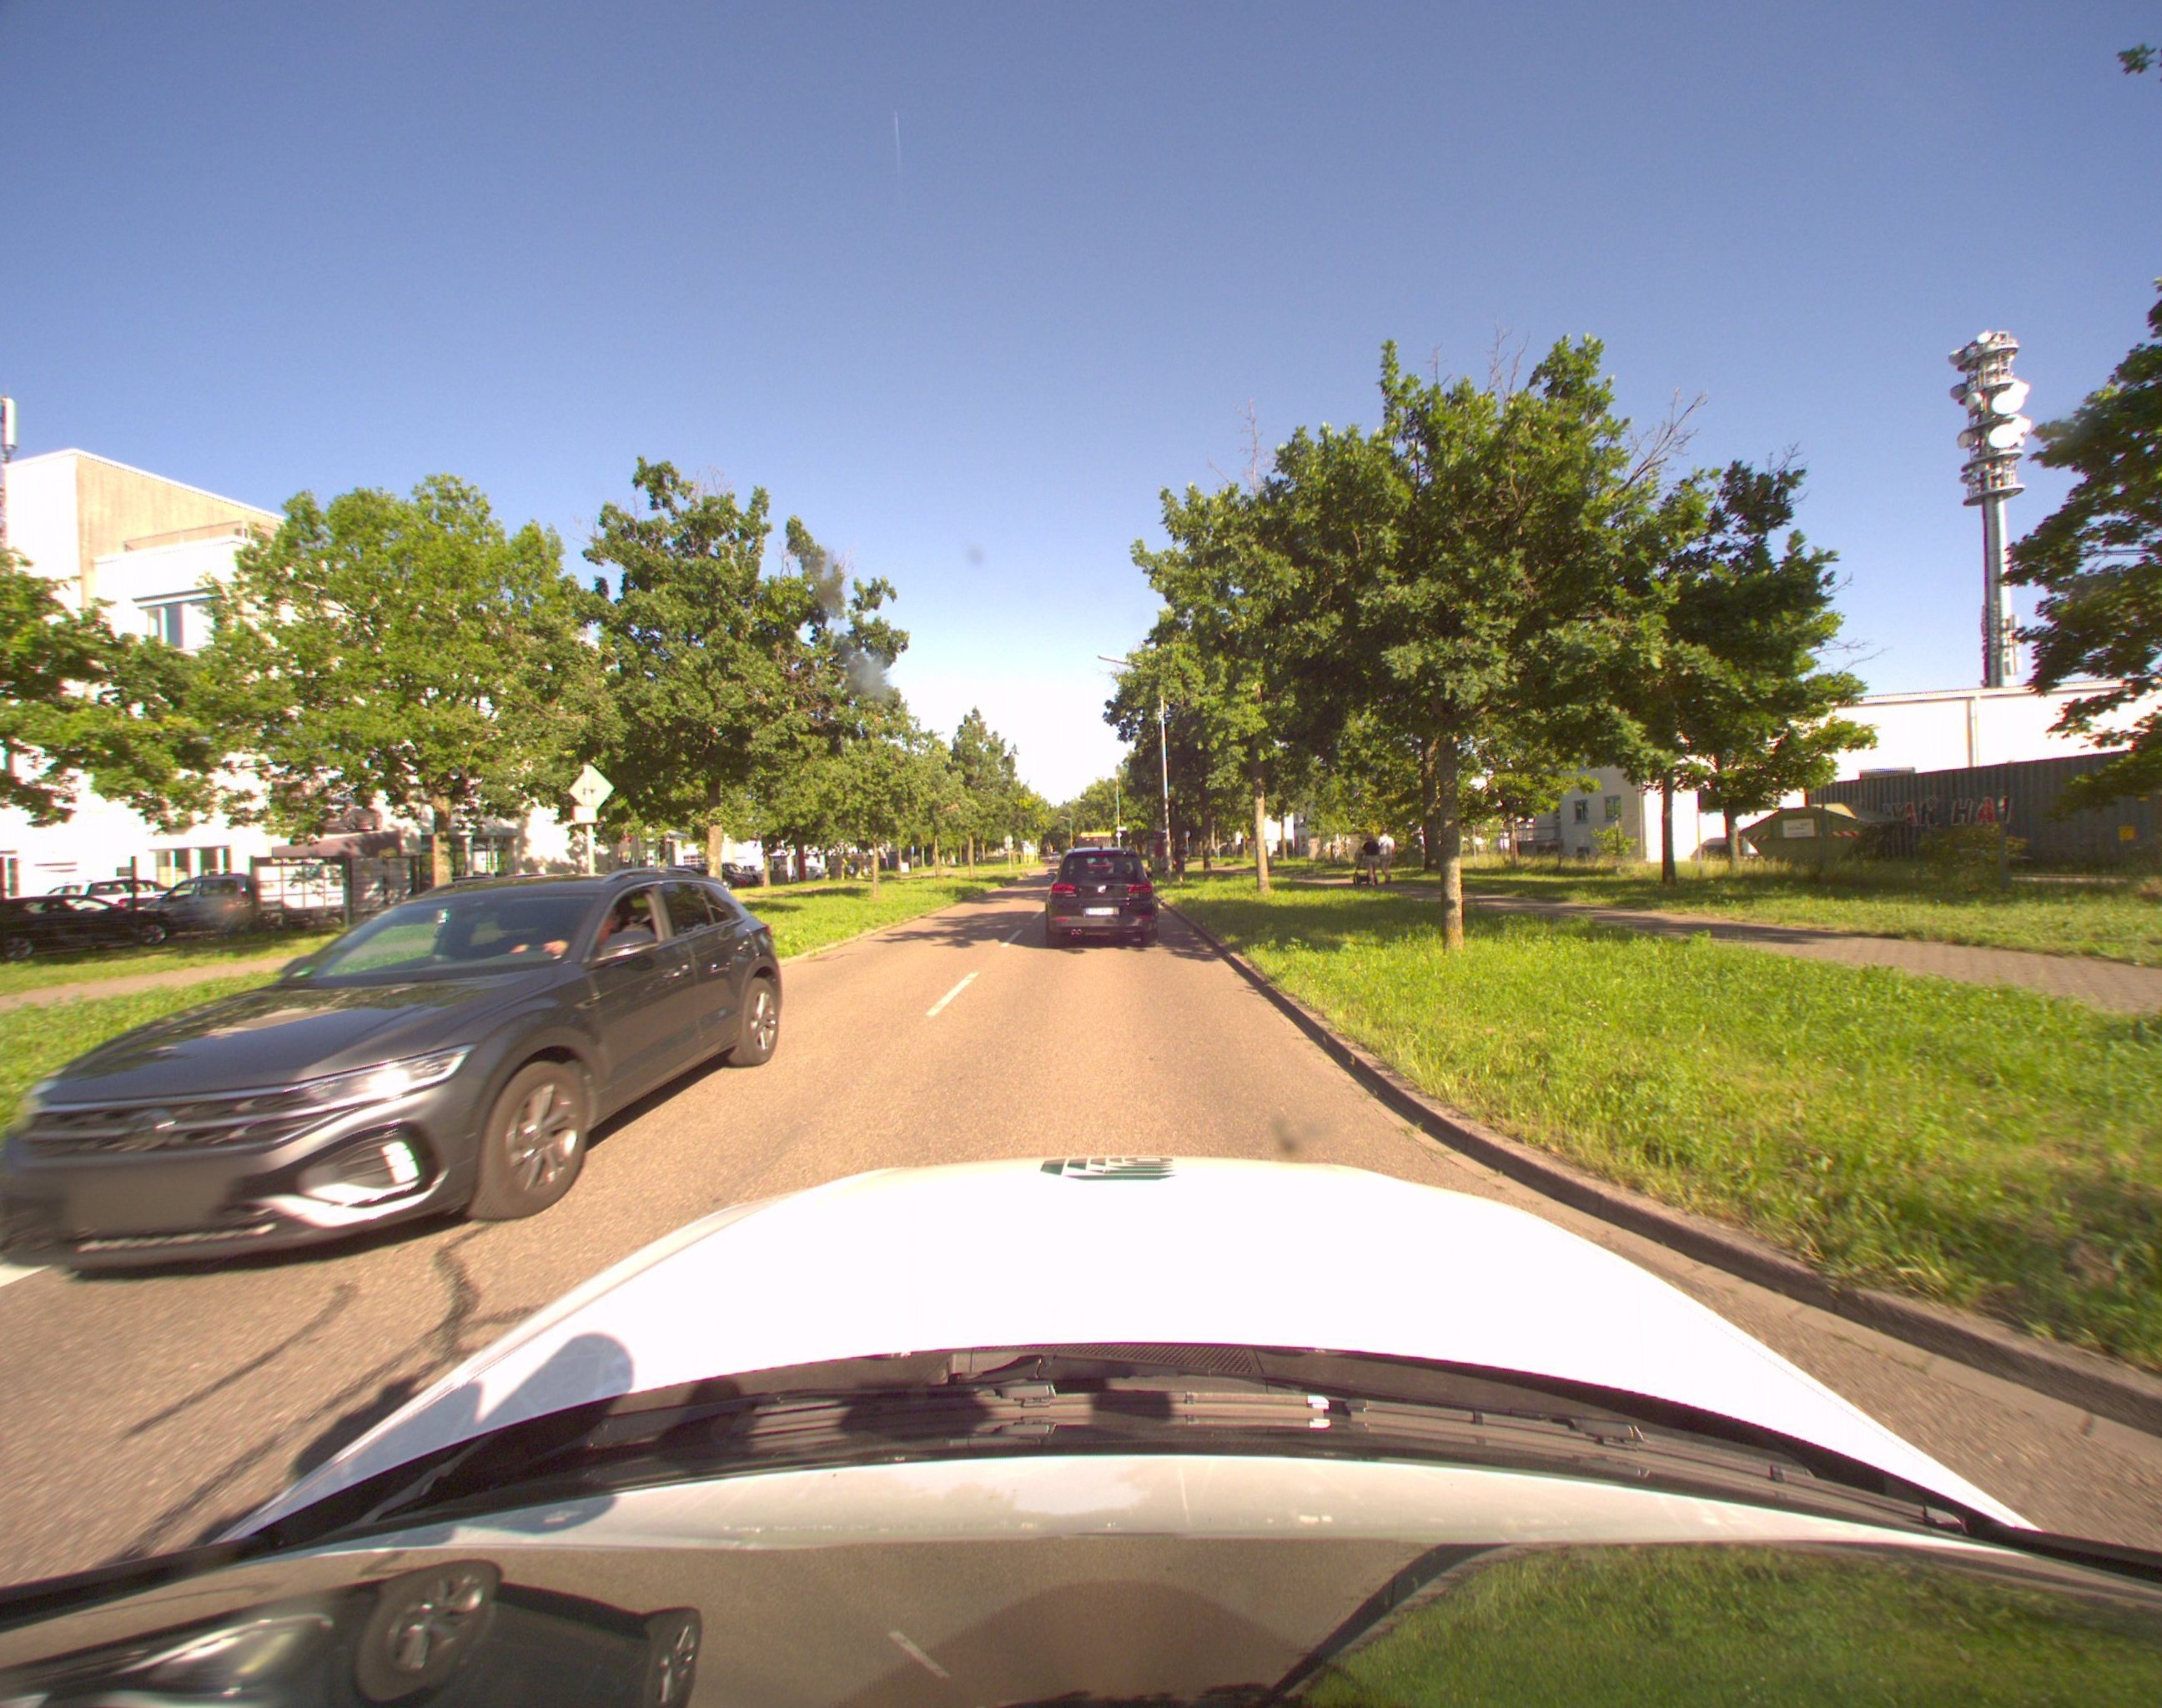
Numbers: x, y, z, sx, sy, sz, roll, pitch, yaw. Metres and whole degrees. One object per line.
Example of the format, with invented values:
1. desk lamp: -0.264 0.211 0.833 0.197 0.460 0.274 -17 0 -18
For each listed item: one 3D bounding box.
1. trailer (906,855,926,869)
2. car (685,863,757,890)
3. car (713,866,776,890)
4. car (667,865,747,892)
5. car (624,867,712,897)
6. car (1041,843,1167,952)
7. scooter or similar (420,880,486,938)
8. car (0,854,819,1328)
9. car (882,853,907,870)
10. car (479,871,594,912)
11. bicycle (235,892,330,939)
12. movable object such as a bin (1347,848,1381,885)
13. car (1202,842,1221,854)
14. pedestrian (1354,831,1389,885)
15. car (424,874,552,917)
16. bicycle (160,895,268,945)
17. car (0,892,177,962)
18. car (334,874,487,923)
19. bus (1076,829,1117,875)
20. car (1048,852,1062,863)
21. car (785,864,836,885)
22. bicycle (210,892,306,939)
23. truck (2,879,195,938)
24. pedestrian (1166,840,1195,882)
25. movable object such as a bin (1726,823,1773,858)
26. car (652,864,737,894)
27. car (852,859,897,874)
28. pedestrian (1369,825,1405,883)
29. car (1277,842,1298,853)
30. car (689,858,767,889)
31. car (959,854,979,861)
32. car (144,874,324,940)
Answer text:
1. trailer: -24.362 1.123 120.232 2.096 1.914 3.739 -2 0 -1
2. car: -24.312 1.475 54.983 4.184 1.562 1.980 -3 0 -31
3. car: -29.953 2.152 72.471 4.971 1.906 1.950 -2 0 17
4. car: -23.705 1.537 51.667 4.190 1.491 1.977 -3 0 -38
5. car: -22.890 1.509 45.231 3.975 1.401 1.976 -3 0 -41
6. car: 0.400 0.645 14.758 1.929 1.656 4.428 -1 1 1
7. scooter or similar: -15.182 1.303 19.727 0.393 1.279 1.442 -2 0 2
8. car: -3.314 0.847 5.128 1.799 1.536 4.494 -4 1 0
9. car: -24.436 0.956 106.850 2.030 1.988 5.802 -2 0 -2
10. car: -24.030 1.633 36.145 4.010 1.511 1.785 -3 1 -28
11. bicycle: -21.486 1.623 21.967 0.637 1.087 1.891 -2 0 1
12. movable object such as a bin: 8.977 0.389 25.883 0.723 1.081 0.868 -4 0 1
13. car: 21.935 -1.006 136.975 2.180 1.744 4.635 -2 0 -4
14. pedestrian: 8.918 0.107 25.010 0.723 1.603 0.868 -2 0 1
15. car: -23.984 1.641 33.018 4.022 1.448 1.779 -3 0 -42
16. bicycle: -21.828 1.633 20.563 0.637 1.087 1.891 -2 0 1
17. car: -26.170 1.833 20.672 1.787 1.448 4.005 -2 0 4
18. car: -24.102 1.550 29.375 1.778 1.448 4.024 -2 0 43
19. bus: 1.171 -0.193 69.369 2.757 3.456 11.202 -2 0 -2
20. car: -3.607 0.494 113.144 1.740 1.464 4.423 -3 1 -2
21. car: -23.618 1.765 71.104 3.714 1.618 1.972 -2 0 15
22. bicycle: -22.471 1.656 22.283 0.637 1.087 1.891 -2 0 1
23. truck: -30.722 1.656 25.514 4.581 1.624 2.097 -1 0 15
24. pedestrian: 4.026 0.266 33.077 1.016 1.651 1.100 -2 0 1
25. movable object such as a bin: 28.195 -0.562 34.382 1.175 1.406 1.064 -2 0 18
26. car: -22.976 1.461 48.438 4.192 1.538 1.874 -3 0 -41
27. car: -23.228 1.404 91.808 4.479 1.479 1.944 -2 0 5
28. pedestrian: 9.716 0.001 25.905 0.723 1.755 0.868 -4 0 1
29. car: 29.289 -0.895 115.667 1.762 1.383 3.762 -2 0 -4
30. car: -25.931 1.408 59.908 4.885 2.013 1.976 -3 0 -41
31. car: -25.723 0.844 187.340 4.181 1.321 1.943 -2 0 2
32. car: -25.632 1.557 24.705 3.988 1.783 2.033 -1 0 14
